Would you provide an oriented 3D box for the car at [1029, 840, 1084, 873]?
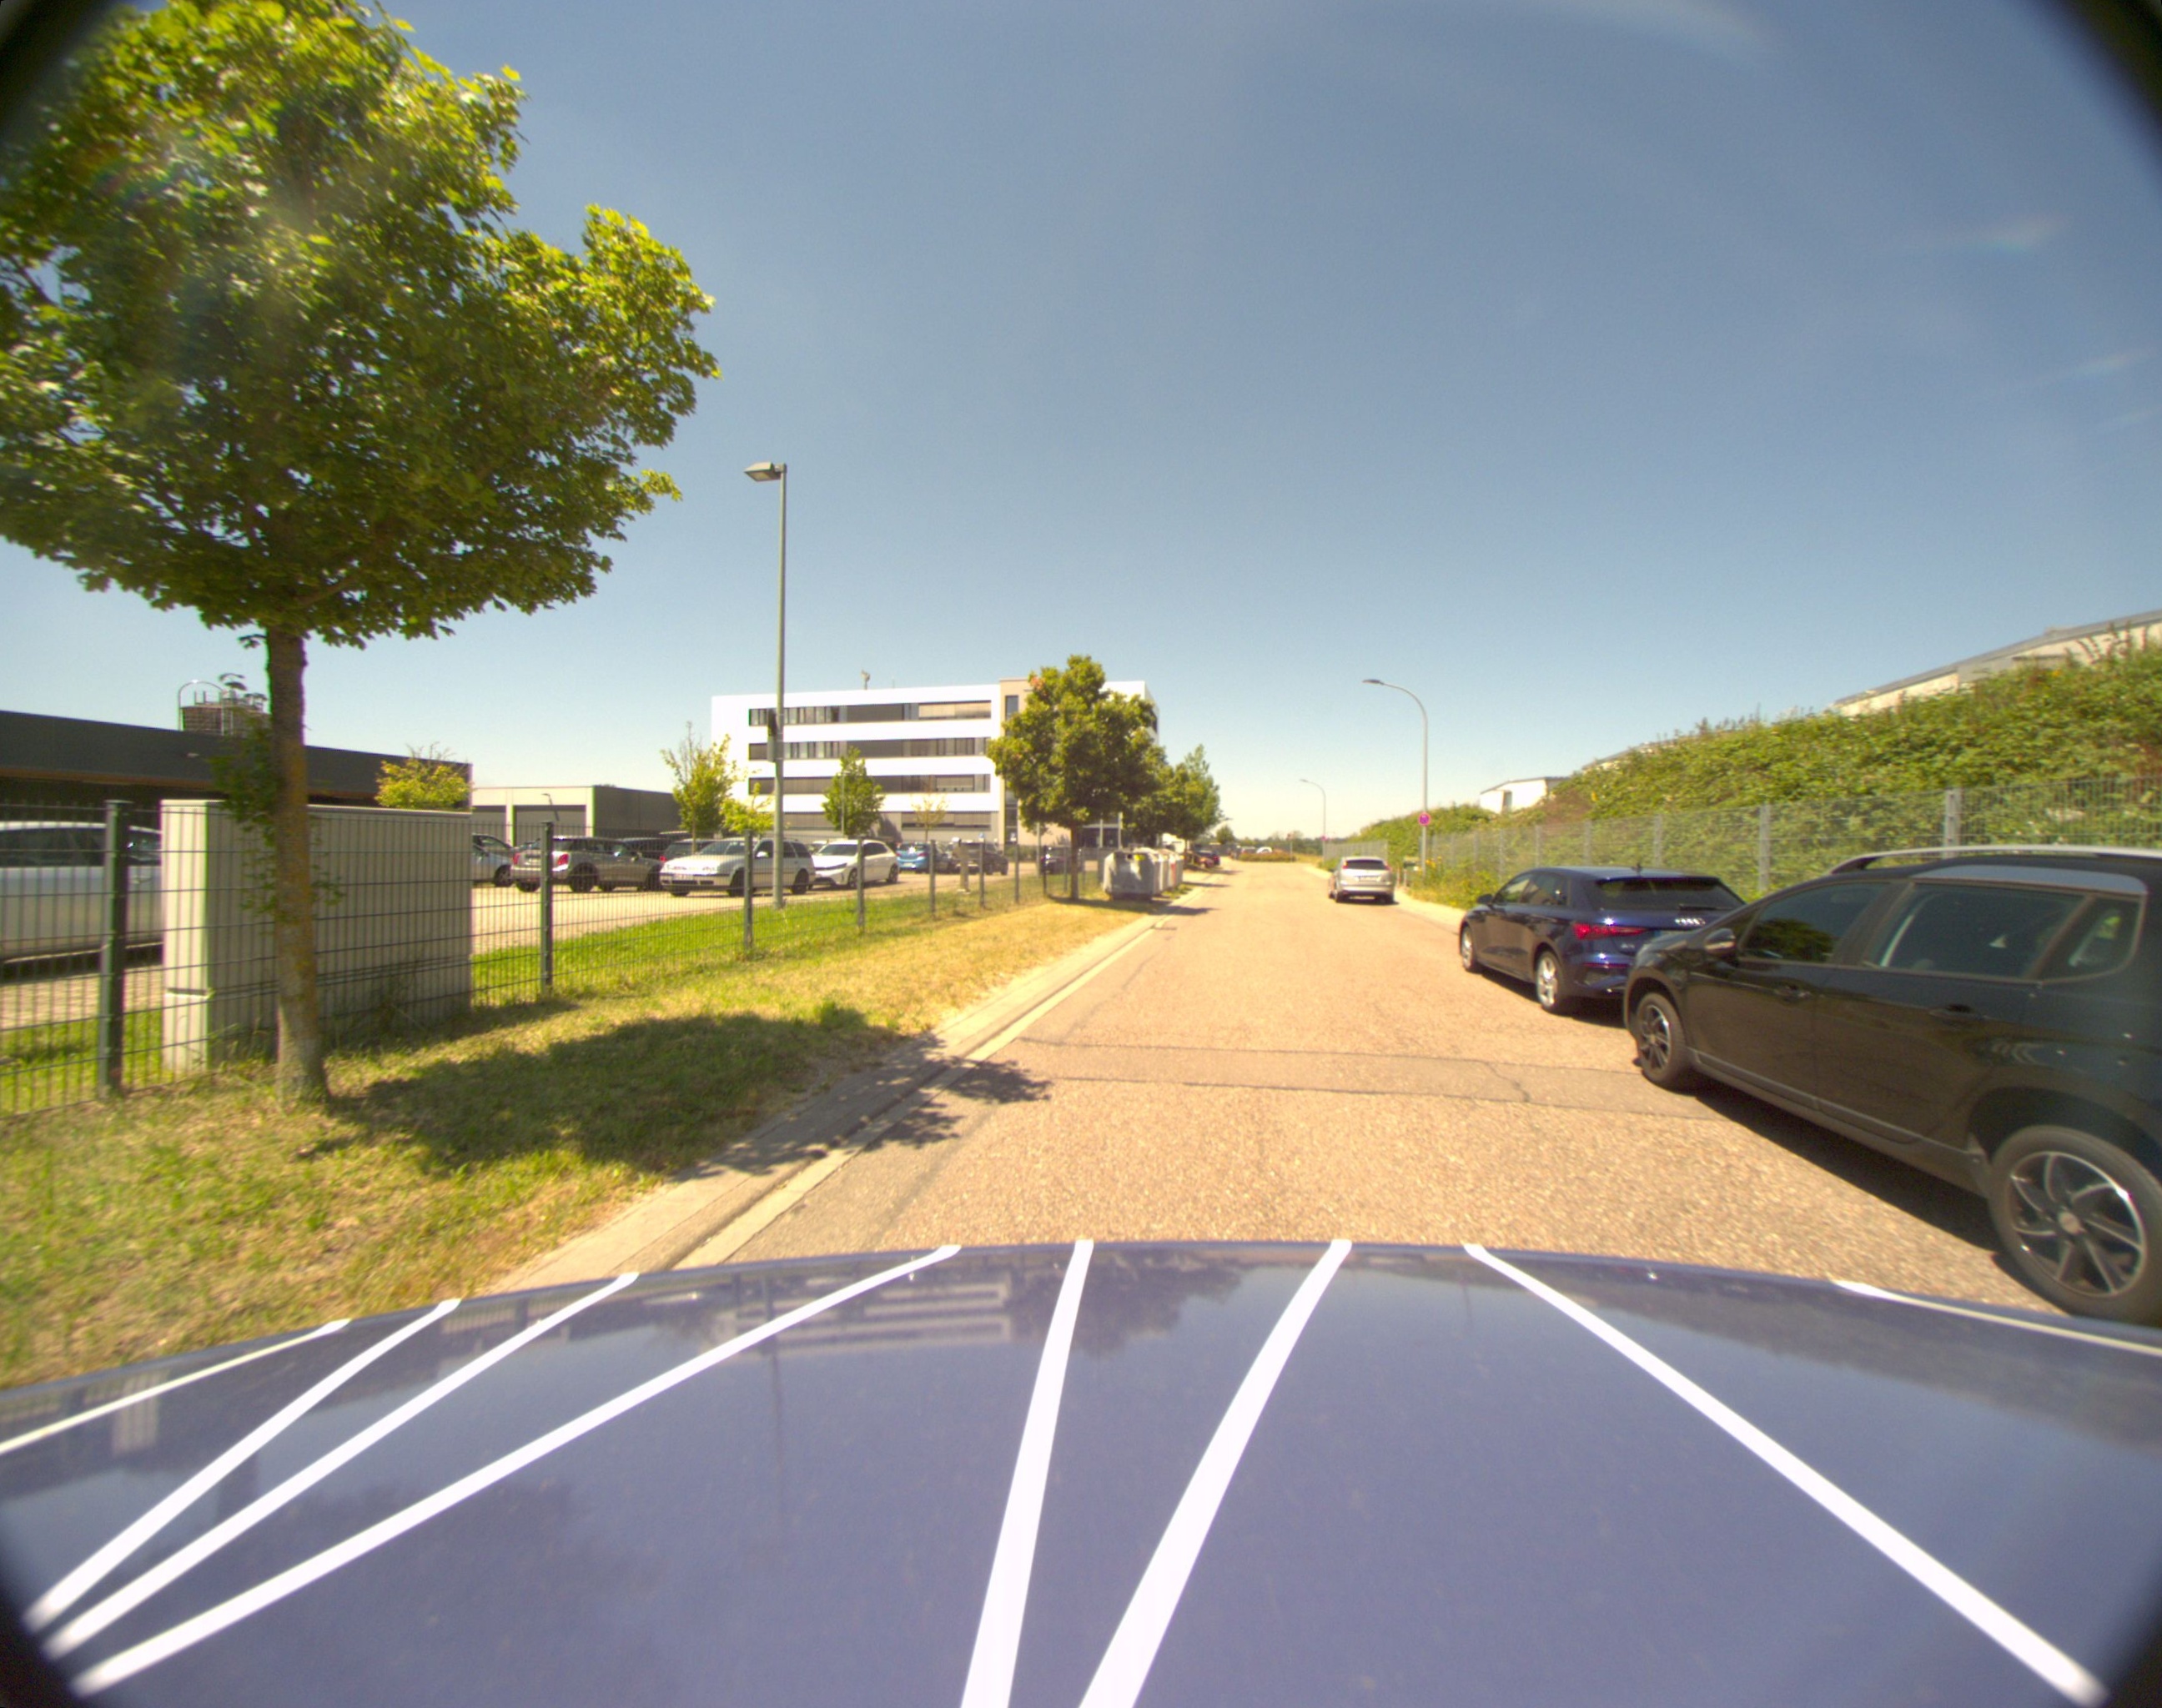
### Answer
[{"bbox_3d":[-1.202,0.167,38.909,1.829,1.445,3.931,-2,-3,12],"label":"car"}]

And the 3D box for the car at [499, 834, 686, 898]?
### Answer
[{"bbox_3d":[-12.607,0.270,19.941,1.851,1.490,3.929,0,0,14],"label":"car"}]

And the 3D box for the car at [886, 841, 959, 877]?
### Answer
[{"bbox_3d":[-7.249,0.291,35.127,1.829,1.445,3.931,-2,-3,12],"label":"car"}]

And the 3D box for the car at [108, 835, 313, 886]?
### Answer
[{"bbox_3d":[-27.851,0.188,24.507,1.851,1.490,3.929,0,0,14],"label":"car"}]

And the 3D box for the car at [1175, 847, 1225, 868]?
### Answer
[{"bbox_3d":[10.137,0.316,64.596,3.993,1.631,1.892,-2,1,12],"label":"car"}]

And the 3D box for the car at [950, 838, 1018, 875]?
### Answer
[{"bbox_3d":[-4.334,0.079,34.557,1.829,1.565,3.929,1,0,12],"label":"car"}]

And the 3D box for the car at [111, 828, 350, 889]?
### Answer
[{"bbox_3d":[-24.939,0.112,22.536,1.964,1.622,4.258,0,0,14],"label":"car"}]

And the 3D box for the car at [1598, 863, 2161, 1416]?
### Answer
[{"bbox_3d":[4.250,0.863,3.455,1.656,1.546,4.136,1,0,12],"label":"car"}]

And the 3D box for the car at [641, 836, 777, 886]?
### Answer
[{"bbox_3d":[-11.928,0.207,24.676,1.851,1.490,3.929,1,0,14],"label":"car"}]

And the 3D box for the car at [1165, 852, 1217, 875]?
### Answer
[{"bbox_3d":[9.014,0.791,61.997,3.993,1.693,1.892,-2,1,12],"label":"car"}]

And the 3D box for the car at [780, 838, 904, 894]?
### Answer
[{"bbox_3d":[-7.274,0.300,23.535,1.851,1.491,3.927,0,3,14],"label":"car"}]

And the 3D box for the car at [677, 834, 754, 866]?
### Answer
[{"bbox_3d":[-20.705,-0.188,43.176,1.829,1.527,3.931,-2,-3,14],"label":"car"}]

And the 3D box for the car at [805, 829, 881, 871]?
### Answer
[{"bbox_3d":[-11.820,-0.124,37.993,1.829,1.859,3.931,-2,-3,14],"label":"car"}]

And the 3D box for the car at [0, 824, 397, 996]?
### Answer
[{"bbox_3d":[-10.392,0.489,7.712,1.852,1.491,4.858,0,3,13],"label":"car"}]

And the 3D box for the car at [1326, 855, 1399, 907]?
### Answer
[{"bbox_3d":[9.199,0.824,25.077,1.851,1.510,3.952,1,0,15],"label":"car"}]

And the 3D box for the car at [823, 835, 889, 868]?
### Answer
[{"bbox_3d":[-12.728,-0.078,43.272,1.829,1.634,3.931,-2,-3,14],"label":"car"}]

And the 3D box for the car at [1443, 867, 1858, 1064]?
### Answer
[{"bbox_3d":[5.611,0.925,8.323,1.938,1.446,4.285,1,0,11],"label":"car"}]

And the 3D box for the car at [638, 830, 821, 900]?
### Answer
[{"bbox_3d":[-8.277,0.311,18.415,1.852,1.489,4.294,0,-2,11],"label":"car"}]
